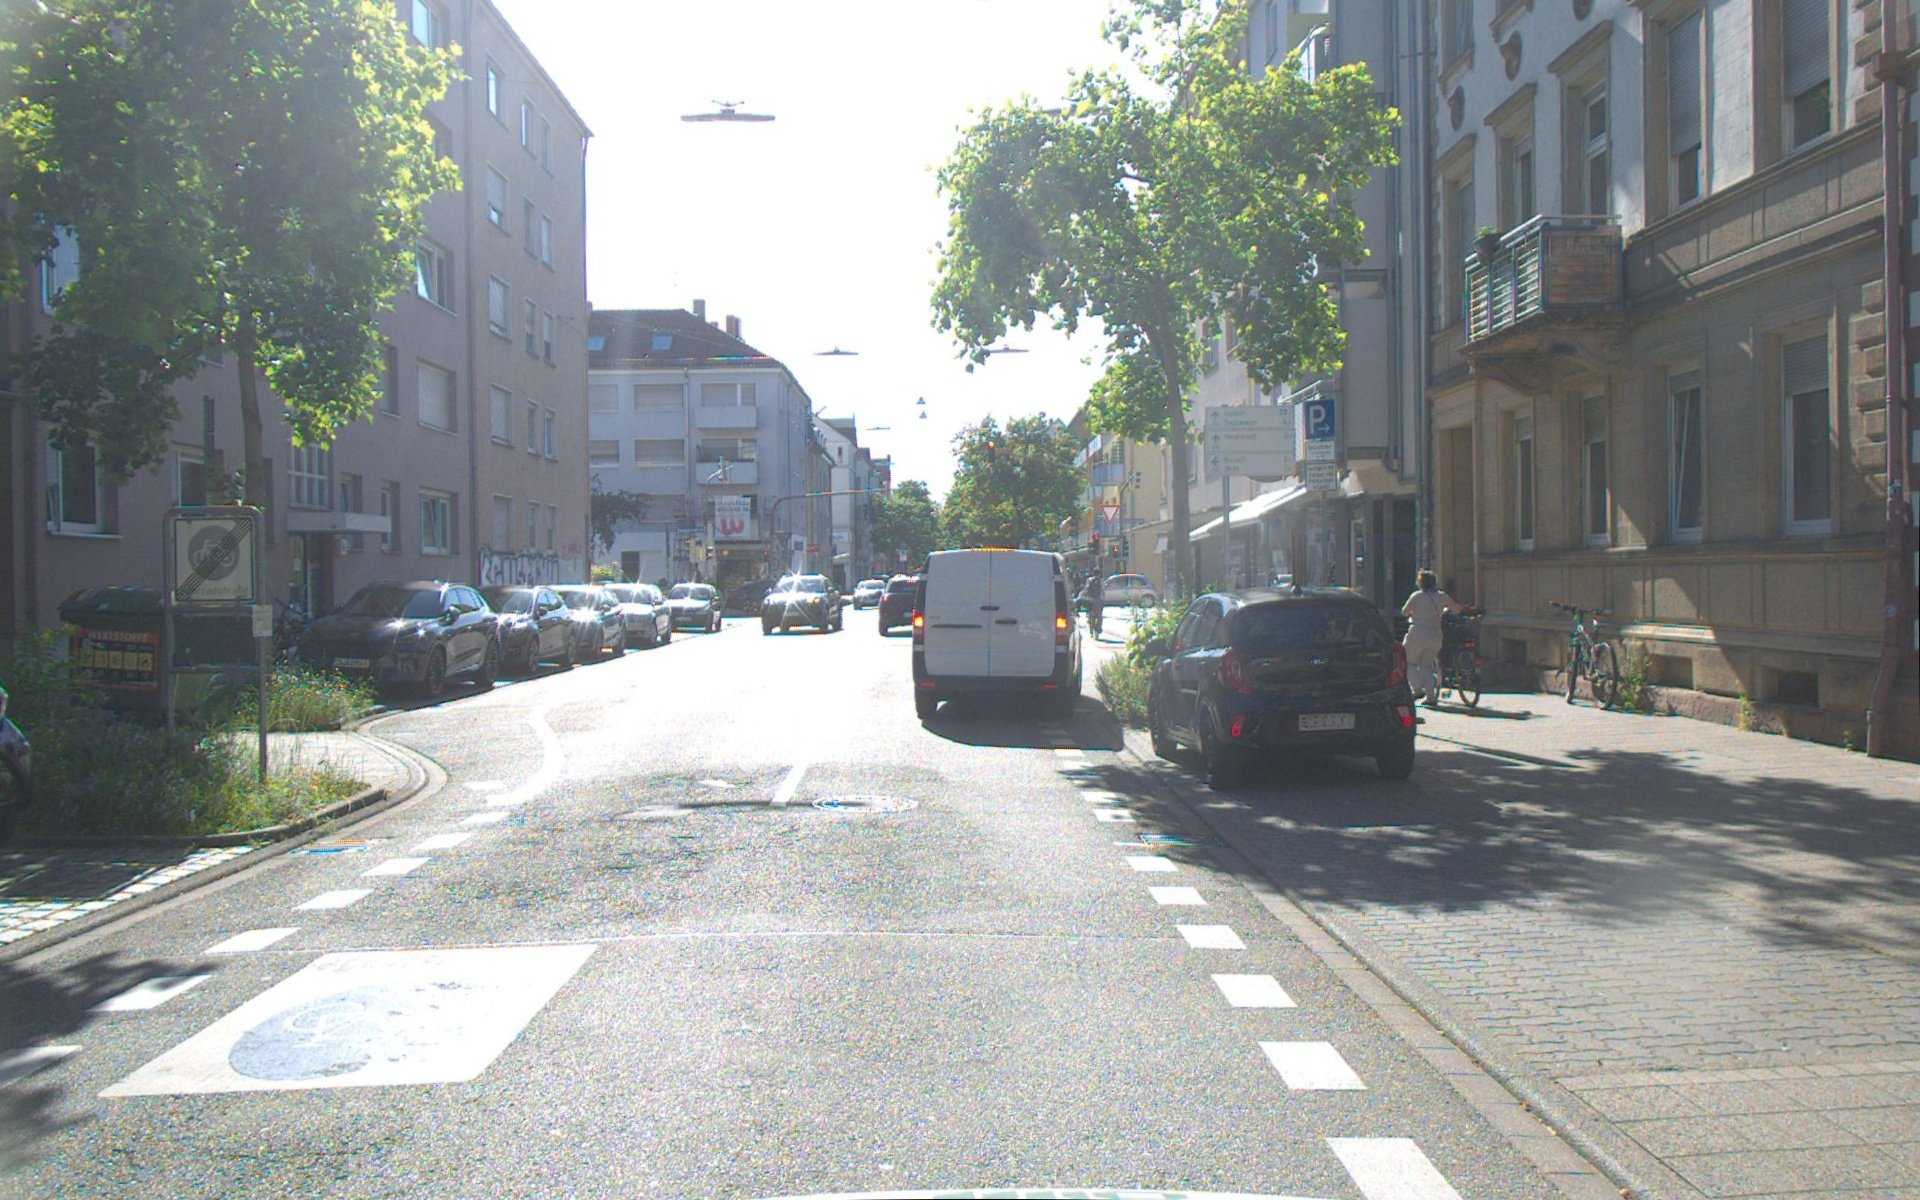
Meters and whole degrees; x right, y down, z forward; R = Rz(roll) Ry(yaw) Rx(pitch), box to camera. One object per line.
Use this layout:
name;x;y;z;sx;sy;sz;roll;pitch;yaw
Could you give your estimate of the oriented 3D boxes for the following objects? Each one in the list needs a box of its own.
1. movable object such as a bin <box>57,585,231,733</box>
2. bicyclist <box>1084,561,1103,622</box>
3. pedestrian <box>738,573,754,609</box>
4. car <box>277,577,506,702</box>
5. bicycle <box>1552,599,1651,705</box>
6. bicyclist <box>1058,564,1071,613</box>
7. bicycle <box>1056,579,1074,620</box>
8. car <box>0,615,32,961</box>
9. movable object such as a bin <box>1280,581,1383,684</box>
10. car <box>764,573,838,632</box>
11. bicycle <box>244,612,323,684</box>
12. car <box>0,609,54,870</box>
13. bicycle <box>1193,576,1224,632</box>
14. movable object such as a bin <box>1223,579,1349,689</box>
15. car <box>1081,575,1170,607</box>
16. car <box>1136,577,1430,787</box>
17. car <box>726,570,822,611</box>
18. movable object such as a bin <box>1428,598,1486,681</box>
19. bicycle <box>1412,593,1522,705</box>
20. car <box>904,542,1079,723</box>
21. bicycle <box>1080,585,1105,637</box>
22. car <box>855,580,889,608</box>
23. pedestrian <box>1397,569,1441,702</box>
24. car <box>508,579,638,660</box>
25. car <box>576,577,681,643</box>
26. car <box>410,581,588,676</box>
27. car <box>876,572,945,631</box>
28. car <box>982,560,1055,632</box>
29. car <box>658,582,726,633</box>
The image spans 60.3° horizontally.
movable object such as a bin;-8.451;0.596;17.177;1.204;1.475;1.077;-1;0;7
bicyclist;3.411;-0.221;42.254;0.430;1.535;0.496;-1;0;-1
pedestrian;-10.069;-0.436;77.678;0.670;1.692;0.601;-1;1;-2
car;-8.186;0.501;24.252;1.838;1.634;4.365;1;1;0
bicycle;6.912;0.542;17.888;0.424;1.048;1.428;-4;1;-1
bicyclist;3.419;-0.377;54.017;0.348;1.603;0.481;1;0;-4
bicycle;3.410;-0.030;53.909;0.408;1.333;1.334;-1;1;-3
car;-6.247;0.787;6.474;4.216;1.485;1.763;1;1;1
movable object such as a bin;5.132;0.428;22.807;1.021;1.371;1.104;0;1;38
car;-4.640;0.034;48.903;1.829;1.642;4.426;-1;1;-1
bicycle;-11.220;0.777;27.495;0.543;1.121;1.902;-1;1;-1
car;-7.496;0.779;8.979;4.217;1.458;1.644;0;1;-1
bicycle;5.939;0.087;39.551;0.465;1.296;1.218;-4;1;-2
movable object such as a bin;4.290;0.426;21.776;1.261;1.371;1.091;-2;1;-43
car;7.180;-0.392;71.972;3.636;1.326;1.690;-1;1;-1
car;2.563;0.576;13.904;1.603;1.501;3.578;-1;1;-3
car;-7.805;-0.404;69.694;3.908;1.668;1.998;0;1;-5
movable object such as a bin;6.519;0.509;21.703;0.586;1.060;0.546;-1;1;-2
bicycle;5.694;0.516;18.686;0.525;1.169;2.123;-1;1;-1
car;0.308;0.310;20.363;1.881;1.947;4.887;1;1;-1
bicycle;3.359;0.263;42.009;0.465;1.296;1.218;-1;1;-2
car;-4.550;-0.339;85.733;1.585;1.422;3.731;0;1;-1
pedestrian;5.271;0.402;19.002;0.360;1.495;0.389;-2;1;-2
car;-8.155;0.357;35.235;1.686;1.523;4.625;2;1;-1
car;-8.258;0.206;41.569;1.741;1.495;4.758;2;1;-2
car;-8.289;0.458;30.148;1.952;1.523;4.229;2;1;1
car;-1.371;0.012;45.755;1.808;1.534;3.999;-1;1;-2
car;1.635;-0.148;47.884;1.779;1.954;4.642;-1;1;-2
car;-8.377;0.211;51.950;1.620;1.505;3.999;1;1;-2
